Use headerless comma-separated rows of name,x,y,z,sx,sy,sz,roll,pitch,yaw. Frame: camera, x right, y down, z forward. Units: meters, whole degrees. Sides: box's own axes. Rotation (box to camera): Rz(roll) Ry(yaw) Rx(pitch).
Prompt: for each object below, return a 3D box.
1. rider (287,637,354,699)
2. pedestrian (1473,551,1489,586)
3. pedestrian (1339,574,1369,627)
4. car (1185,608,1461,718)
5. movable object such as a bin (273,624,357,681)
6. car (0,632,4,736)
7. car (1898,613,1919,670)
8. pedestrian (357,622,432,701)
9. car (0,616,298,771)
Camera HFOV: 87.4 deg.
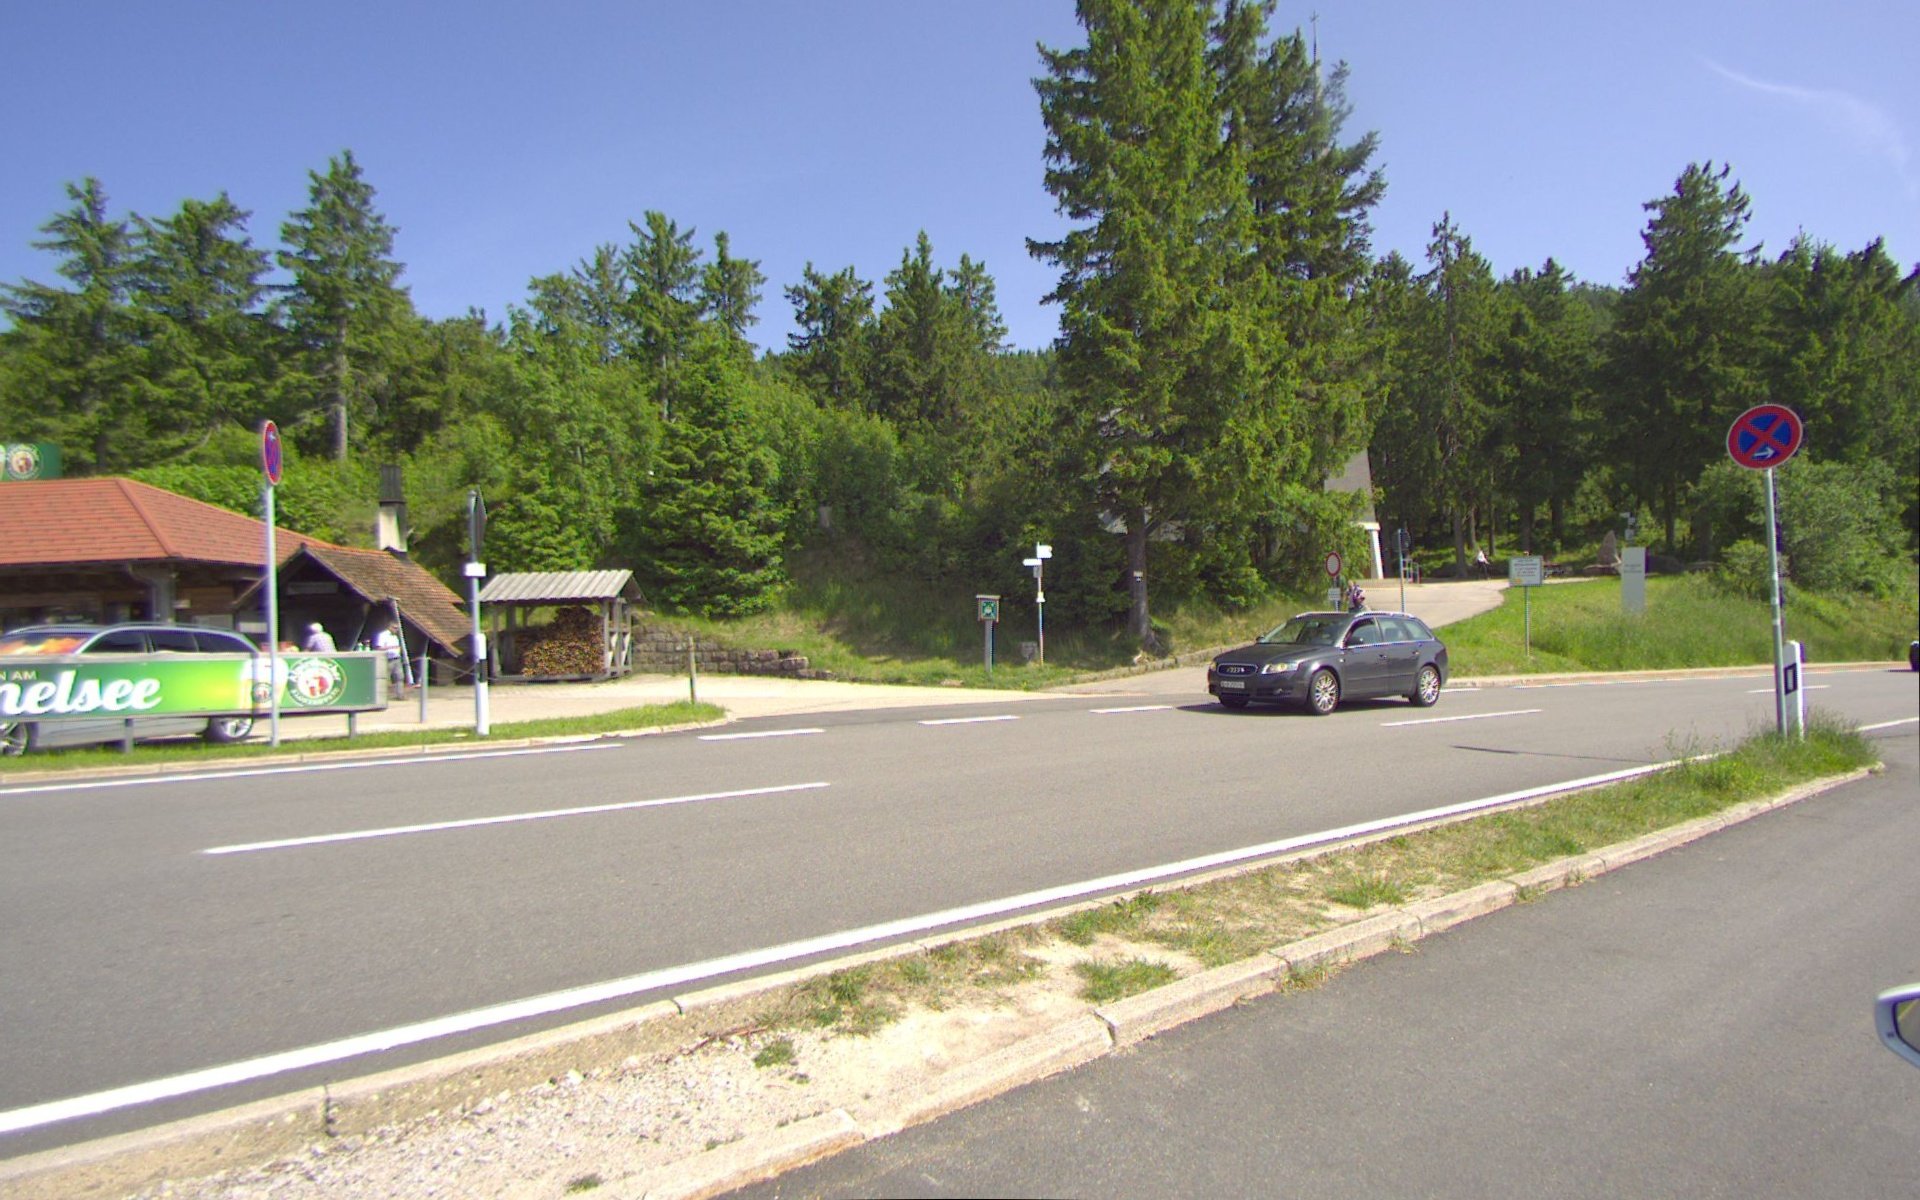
rider,-13.853,1.463,21.776,0.891,1.291,0.840,-1,-1,14
pedestrian,29.522,-1.771,56.896,0.531,1.902,0.683,0,-1,0
pedestrian,12.785,0.026,32.604,0.712,1.703,0.679,-2,-2,43
car,5.582,0.884,15.236,4.404,1.457,1.695,1,-2,-35
movable object such as a bin,-13.958,1.129,21.762,1.192,1.204,0.984,-1,-1,14
car,-15.272,1.158,13.061,1.697,1.449,3.980,-2,-3,41
car,30.098,1.206,29.951,4.515,1.669,1.984,1,-2,-31
pedestrian,-12.613,1.353,22.438,1.140,1.721,0.978,0,-2,-6
car,-9.730,0.947,11.030,1.687,1.449,4.506,-1,-2,5
